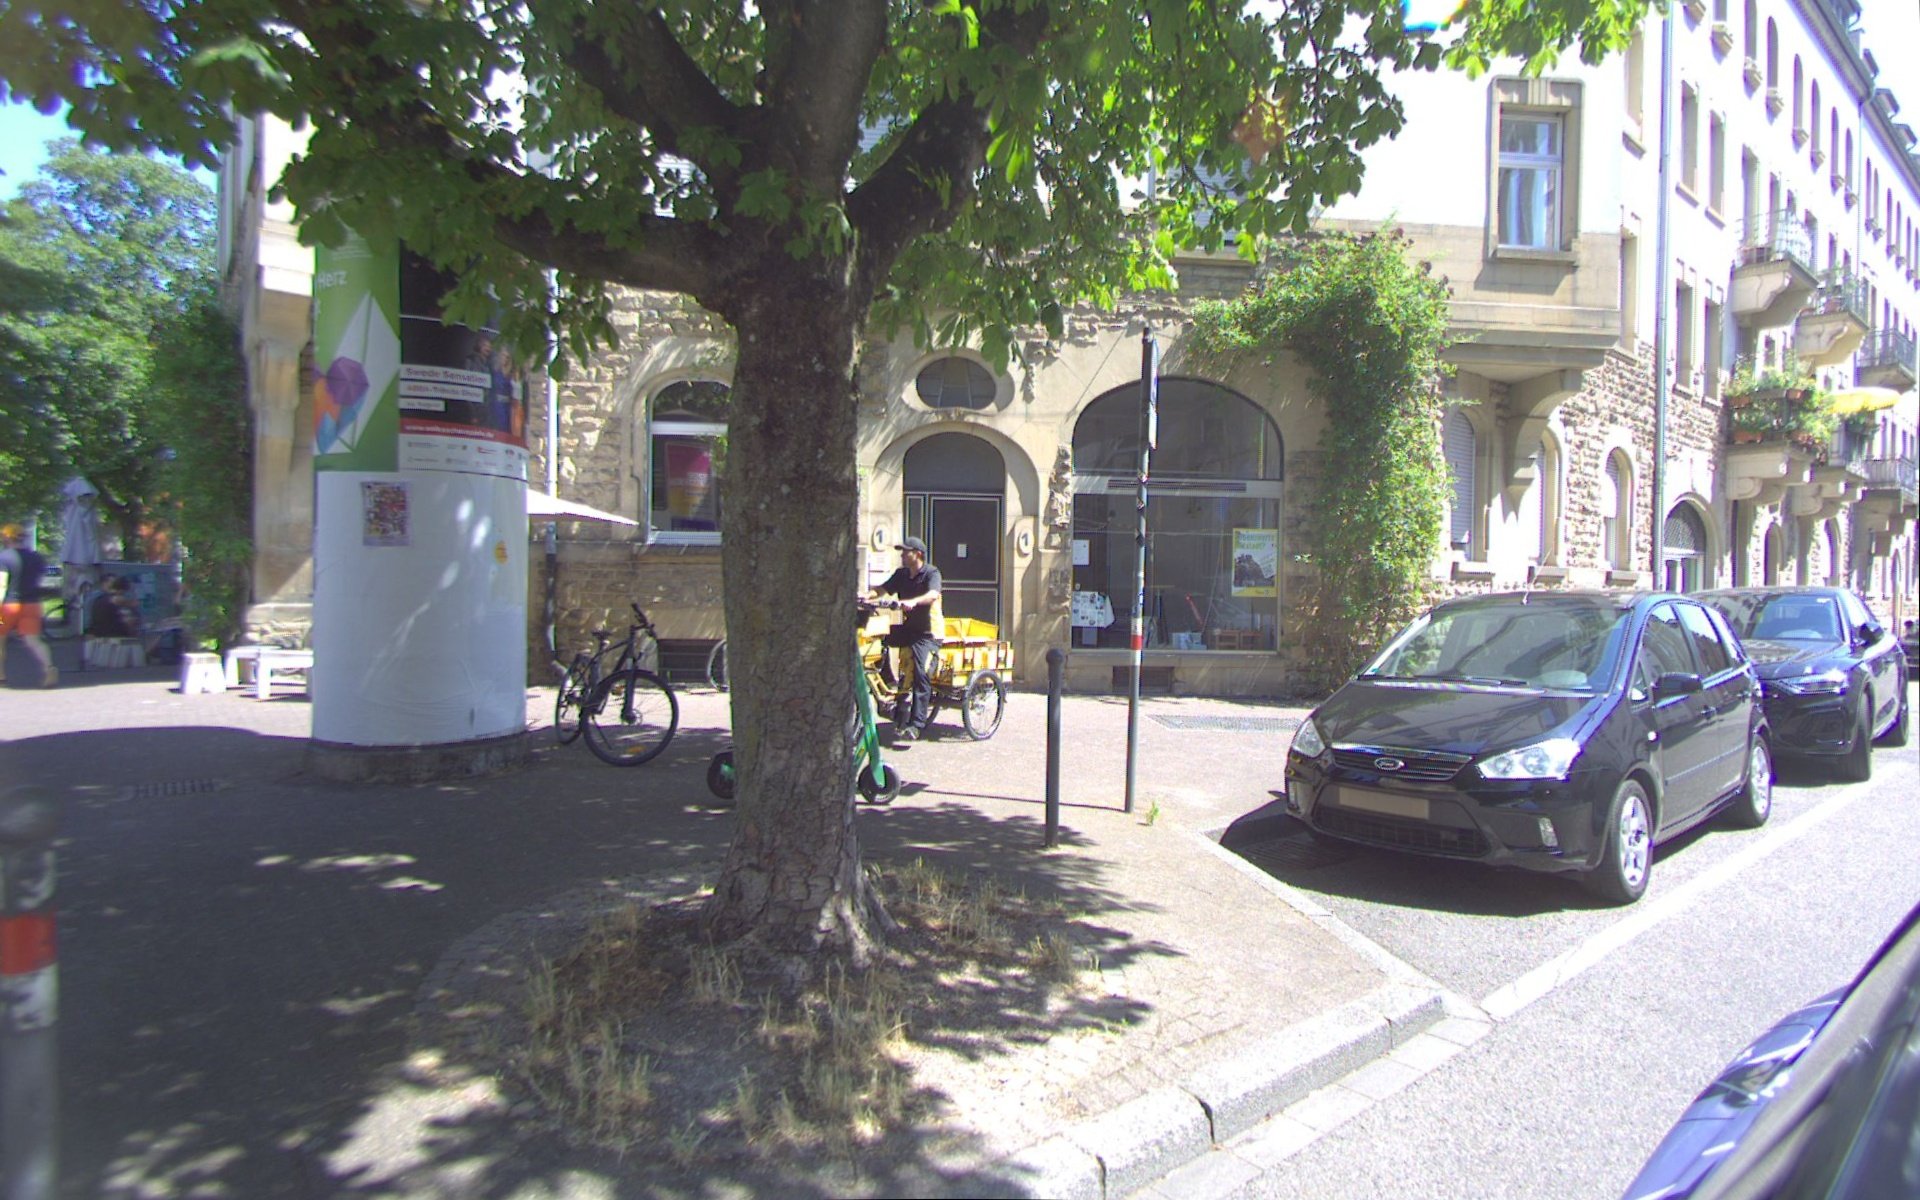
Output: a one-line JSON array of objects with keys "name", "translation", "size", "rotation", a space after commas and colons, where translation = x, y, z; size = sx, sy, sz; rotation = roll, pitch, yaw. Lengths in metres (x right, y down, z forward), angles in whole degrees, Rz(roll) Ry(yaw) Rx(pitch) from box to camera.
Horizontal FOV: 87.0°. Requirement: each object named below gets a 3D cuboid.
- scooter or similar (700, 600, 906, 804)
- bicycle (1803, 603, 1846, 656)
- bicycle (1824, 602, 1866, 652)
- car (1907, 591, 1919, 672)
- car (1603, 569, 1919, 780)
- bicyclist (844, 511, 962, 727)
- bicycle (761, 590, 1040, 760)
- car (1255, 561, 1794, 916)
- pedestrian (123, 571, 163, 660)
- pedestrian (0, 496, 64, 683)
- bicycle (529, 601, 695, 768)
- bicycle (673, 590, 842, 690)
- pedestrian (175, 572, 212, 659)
[{"name": "scooter or similar", "translation": [-0.920, 0.593, 6.071], "size": [1.162, 1.150, 0.443], "rotation": [1, 1, -2]}, {"name": "bicycle", "translation": [20.738, 0.689, 24.266], "size": [1.742, 1.223, 0.385], "rotation": [0, 2, -37]}, {"name": "bicycle", "translation": [22.587, 0.663, 25.811], "size": [1.742, 1.223, 0.442], "rotation": [0, 2, -37]}, {"name": "car", "translation": [21.048, 0.604, 20.762], "size": [4.523, 1.587, 1.836], "rotation": [0, -1, -40]}, {"name": "car", "translation": [7.956, 0.572, 9.840], "size": [4.272, 1.617, 1.738], "rotation": [0, -1, -41]}, {"name": "bicyclist", "translation": [-0.467, 0.130, 8.291], "size": [0.677, 1.668, 0.652], "rotation": [2, 2, 40]}, {"name": "bicycle", "translation": [-0.401, 0.523, 8.471], "size": [0.793, 1.183, 2.541], "rotation": [2, 2, 40]}, {"name": "car", "translation": [3.769, 0.611, 6.430], "size": [4.104, 1.560, 1.666], "rotation": [0, -1, -40]}, {"name": "pedestrian", "translation": [-11.296, 0.208, 13.999], "size": [0.406, 1.197, 0.444], "rotation": [0, 1, -37]}, {"name": "pedestrian", "translation": [-10.052, -0.119, 10.776], "size": [0.877, 1.903, 0.593], "rotation": [1, 1, 36]}, {"name": "bicycle", "translation": [-2.720, 0.574, 7.780], "size": [0.622, 1.052, 1.906], "rotation": [0, 2, -38]}, {"name": "bicycle", "translation": [-2.243, 0.436, 11.357], "size": [1.800, 1.052, 0.550], "rotation": [1, 1, -5]}, {"name": "pedestrian", "translation": [-10.858, 0.206, 14.346], "size": [0.406, 1.197, 0.444], "rotation": [0, 1, -37]}]
